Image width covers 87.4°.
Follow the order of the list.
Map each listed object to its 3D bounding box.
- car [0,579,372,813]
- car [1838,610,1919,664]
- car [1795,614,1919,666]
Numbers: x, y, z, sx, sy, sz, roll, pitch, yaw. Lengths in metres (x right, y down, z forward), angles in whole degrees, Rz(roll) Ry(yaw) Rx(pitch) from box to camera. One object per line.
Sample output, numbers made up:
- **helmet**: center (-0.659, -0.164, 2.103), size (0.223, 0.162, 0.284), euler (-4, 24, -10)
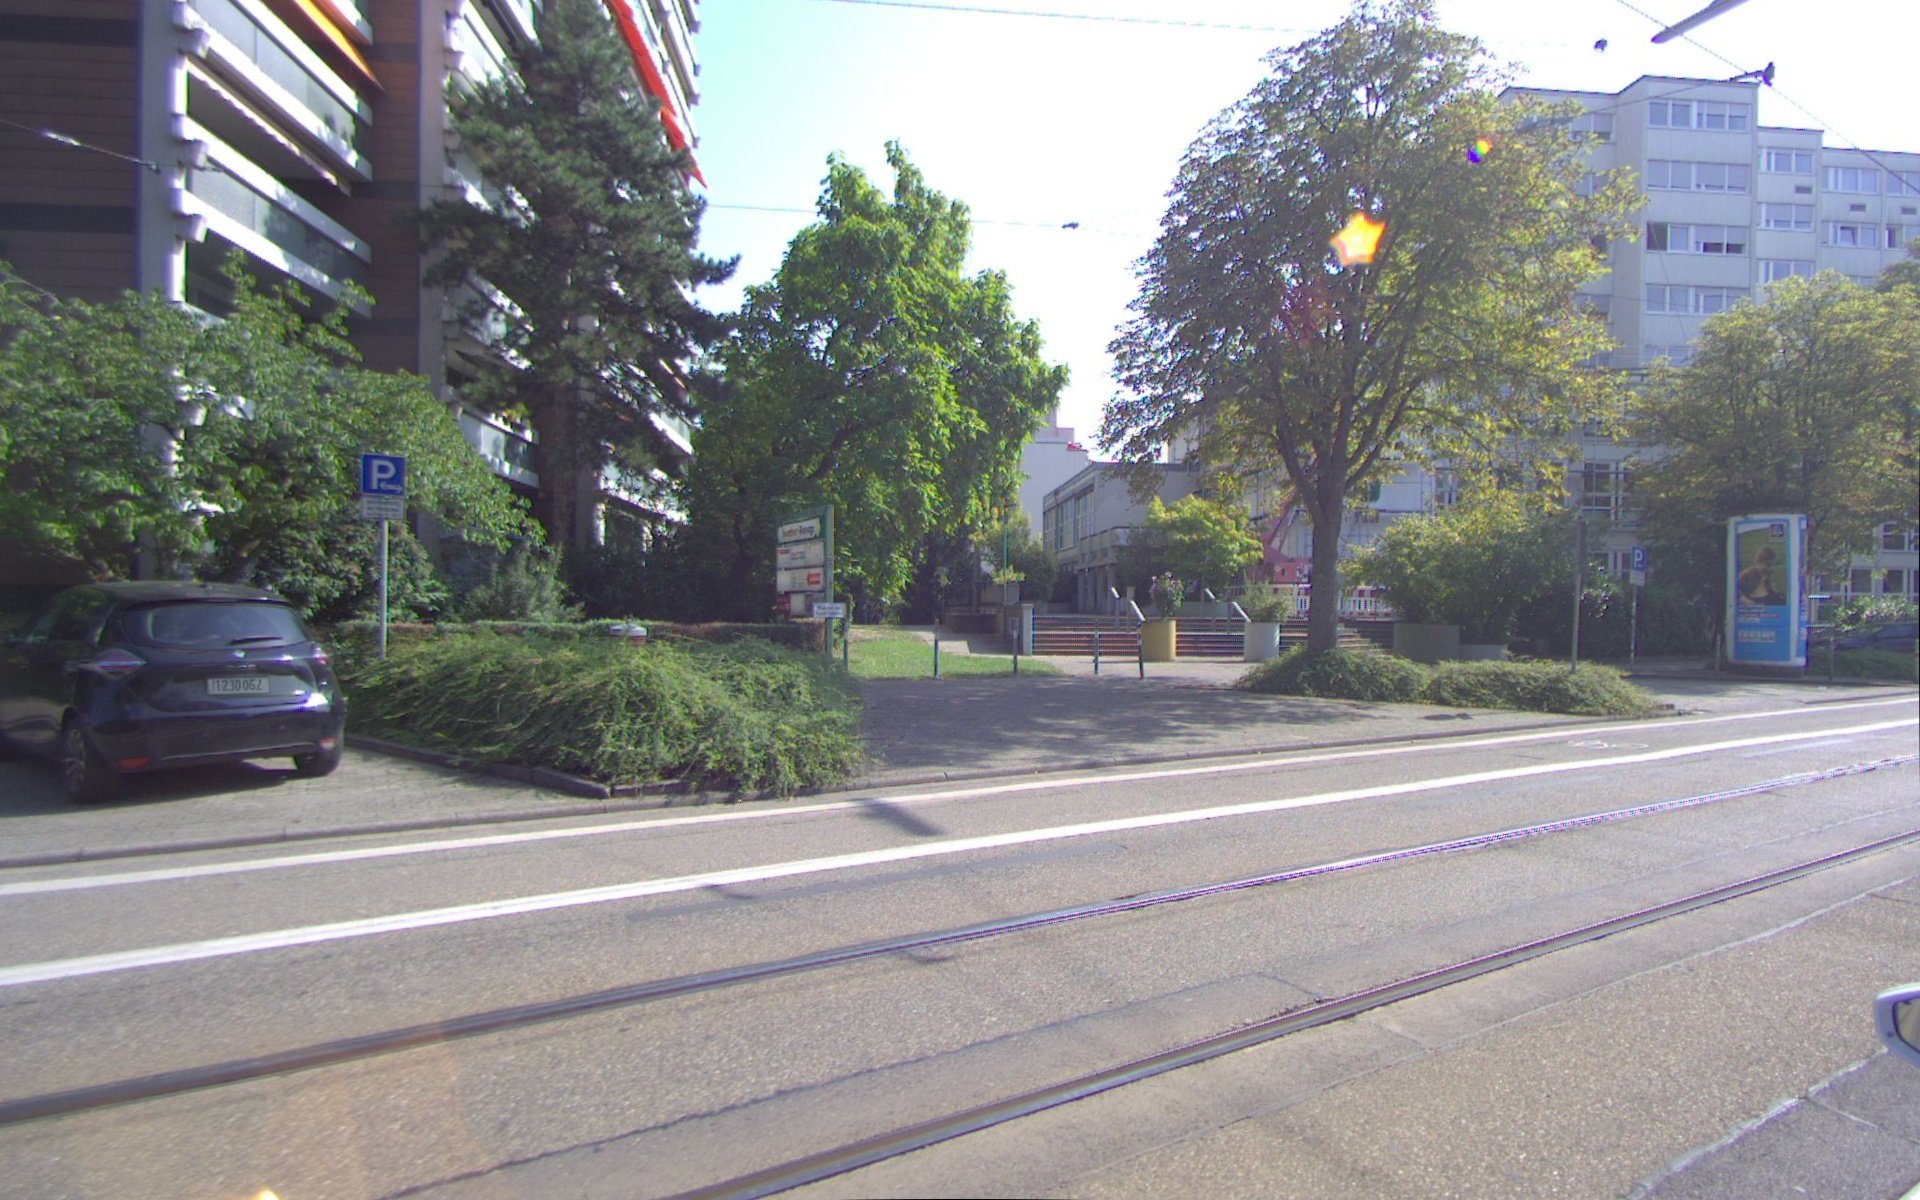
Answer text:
- **car**: center (-6.700, 0.629, 8.484), size (3.584, 1.535, 1.617), euler (2, 1, 34)
- **car**: center (30.155, 1.149, 31.381), size (3.719, 1.643, 1.745), euler (1, 0, 15)
- **car**: center (27.331, 1.168, 29.659), size (3.720, 1.461, 1.694), euler (1, 0, 17)
